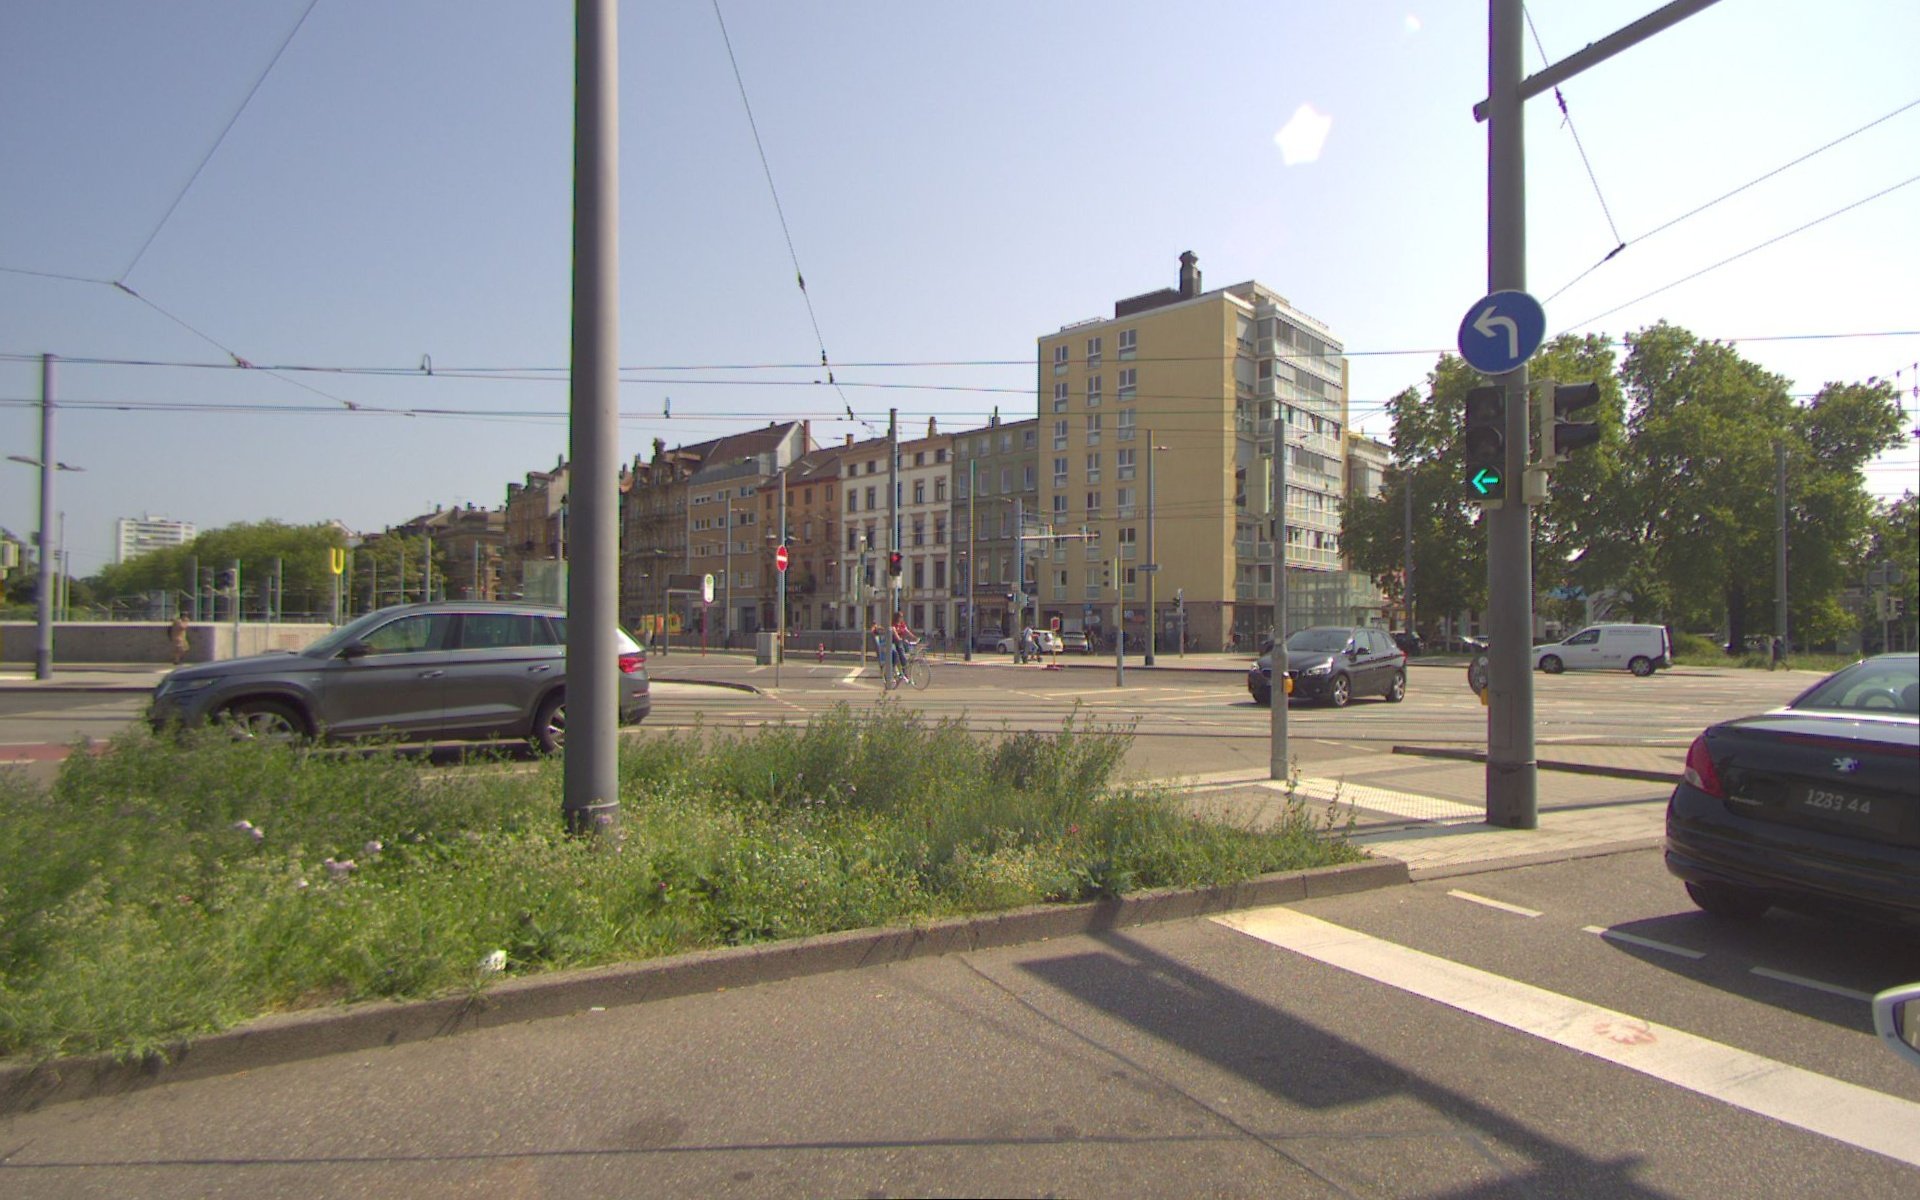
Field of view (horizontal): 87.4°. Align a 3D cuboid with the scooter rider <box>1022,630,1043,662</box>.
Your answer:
[{"bbox_3d":[3.159,2.004,43.605,0.602,1.371,0.682,1,-2,-35],"label":"scooter rider"}]

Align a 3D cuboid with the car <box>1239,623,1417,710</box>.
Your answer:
[{"bbox_3d":[7.593,1.286,20.520,4.178,1.581,1.717,2,-2,-43],"label":"car"}]

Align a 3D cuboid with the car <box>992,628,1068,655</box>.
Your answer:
[{"bbox_3d":[3.959,2.342,57.257,4.141,1.434,1.767,-1,-2,42],"label":"car"}]

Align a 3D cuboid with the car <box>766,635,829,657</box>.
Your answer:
[{"bbox_3d":[-11.346,3.176,69.870,4.700,1.434,1.767,-1,-2,42],"label":"car"}]

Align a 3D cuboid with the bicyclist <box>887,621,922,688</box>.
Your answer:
[{"bbox_3d":[-1.287,1.260,23.295,0.632,1.529,0.553,1,-2,-36],"label":"bicyclist"}]

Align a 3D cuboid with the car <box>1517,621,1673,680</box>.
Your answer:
[{"bbox_3d":[23.025,1.779,36.515,4.557,2.040,1.991,-1,-2,40],"label":"car"}]

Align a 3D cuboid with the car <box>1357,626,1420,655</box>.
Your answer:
[{"bbox_3d":[31.871,3.004,74.754,3.946,2.040,1.919,-1,-2,44],"label":"car"}]

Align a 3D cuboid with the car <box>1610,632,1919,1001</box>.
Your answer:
[{"bbox_3d":[5.342,0.905,5.008,3.728,1.406,1.761,1,0,-23],"label":"car"}]

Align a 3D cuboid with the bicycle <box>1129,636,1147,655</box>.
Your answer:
[{"bbox_3d":[11.838,3.027,66.819,0.892,1.220,3.265,0,-2,5],"label":"bicycle"}]

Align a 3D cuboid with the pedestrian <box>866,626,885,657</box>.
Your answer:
[{"bbox_3d":[-4.326,2.097,51.133,0.733,1.563,0.854,1,-2,-23],"label":"pedestrian"}]

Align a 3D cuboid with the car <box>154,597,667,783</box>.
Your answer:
[{"bbox_3d":[-5.648,0.848,10.779,4.496,1.621,1.755,1,-2,-34],"label":"car"}]

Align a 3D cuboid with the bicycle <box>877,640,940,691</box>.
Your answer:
[{"bbox_3d":[-1.215,1.486,23.208,0.499,1.108,1.918,1,-2,-35],"label":"bicycle"}]

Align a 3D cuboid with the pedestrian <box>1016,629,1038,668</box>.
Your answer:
[{"bbox_3d":[2.941,2.110,43.973,0.791,1.699,0.578,1,-1,-33],"label":"pedestrian"}]

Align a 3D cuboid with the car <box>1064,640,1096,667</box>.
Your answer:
[{"bbox_3d":[7.279,3.206,61.065,1.712,1.528,4.002,0,-2,4],"label":"car"}]

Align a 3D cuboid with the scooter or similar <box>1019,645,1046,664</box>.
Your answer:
[{"bbox_3d":[3.137,2.355,43.468,1.132,0.835,0.517,1,-2,-35],"label":"scooter or similar"}]

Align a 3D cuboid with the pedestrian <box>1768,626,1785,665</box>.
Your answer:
[{"bbox_3d":[35.629,1.982,43.816,0.546,1.706,0.452,-1,-2,42],"label":"pedestrian"}]

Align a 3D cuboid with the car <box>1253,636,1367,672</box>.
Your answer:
[{"bbox_3d":[16.078,2.441,46.250,4.557,1.524,1.991,-1,-2,40],"label":"car"}]

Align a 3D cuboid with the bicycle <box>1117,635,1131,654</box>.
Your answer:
[{"bbox_3d":[11.027,2.972,67.629,0.680,1.220,3.265,0,-2,5],"label":"bicycle"}]

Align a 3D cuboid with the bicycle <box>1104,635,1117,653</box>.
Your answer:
[{"bbox_3d":[10.252,2.993,68.322,0.680,1.220,2.793,0,-2,5],"label":"bicycle"}]
